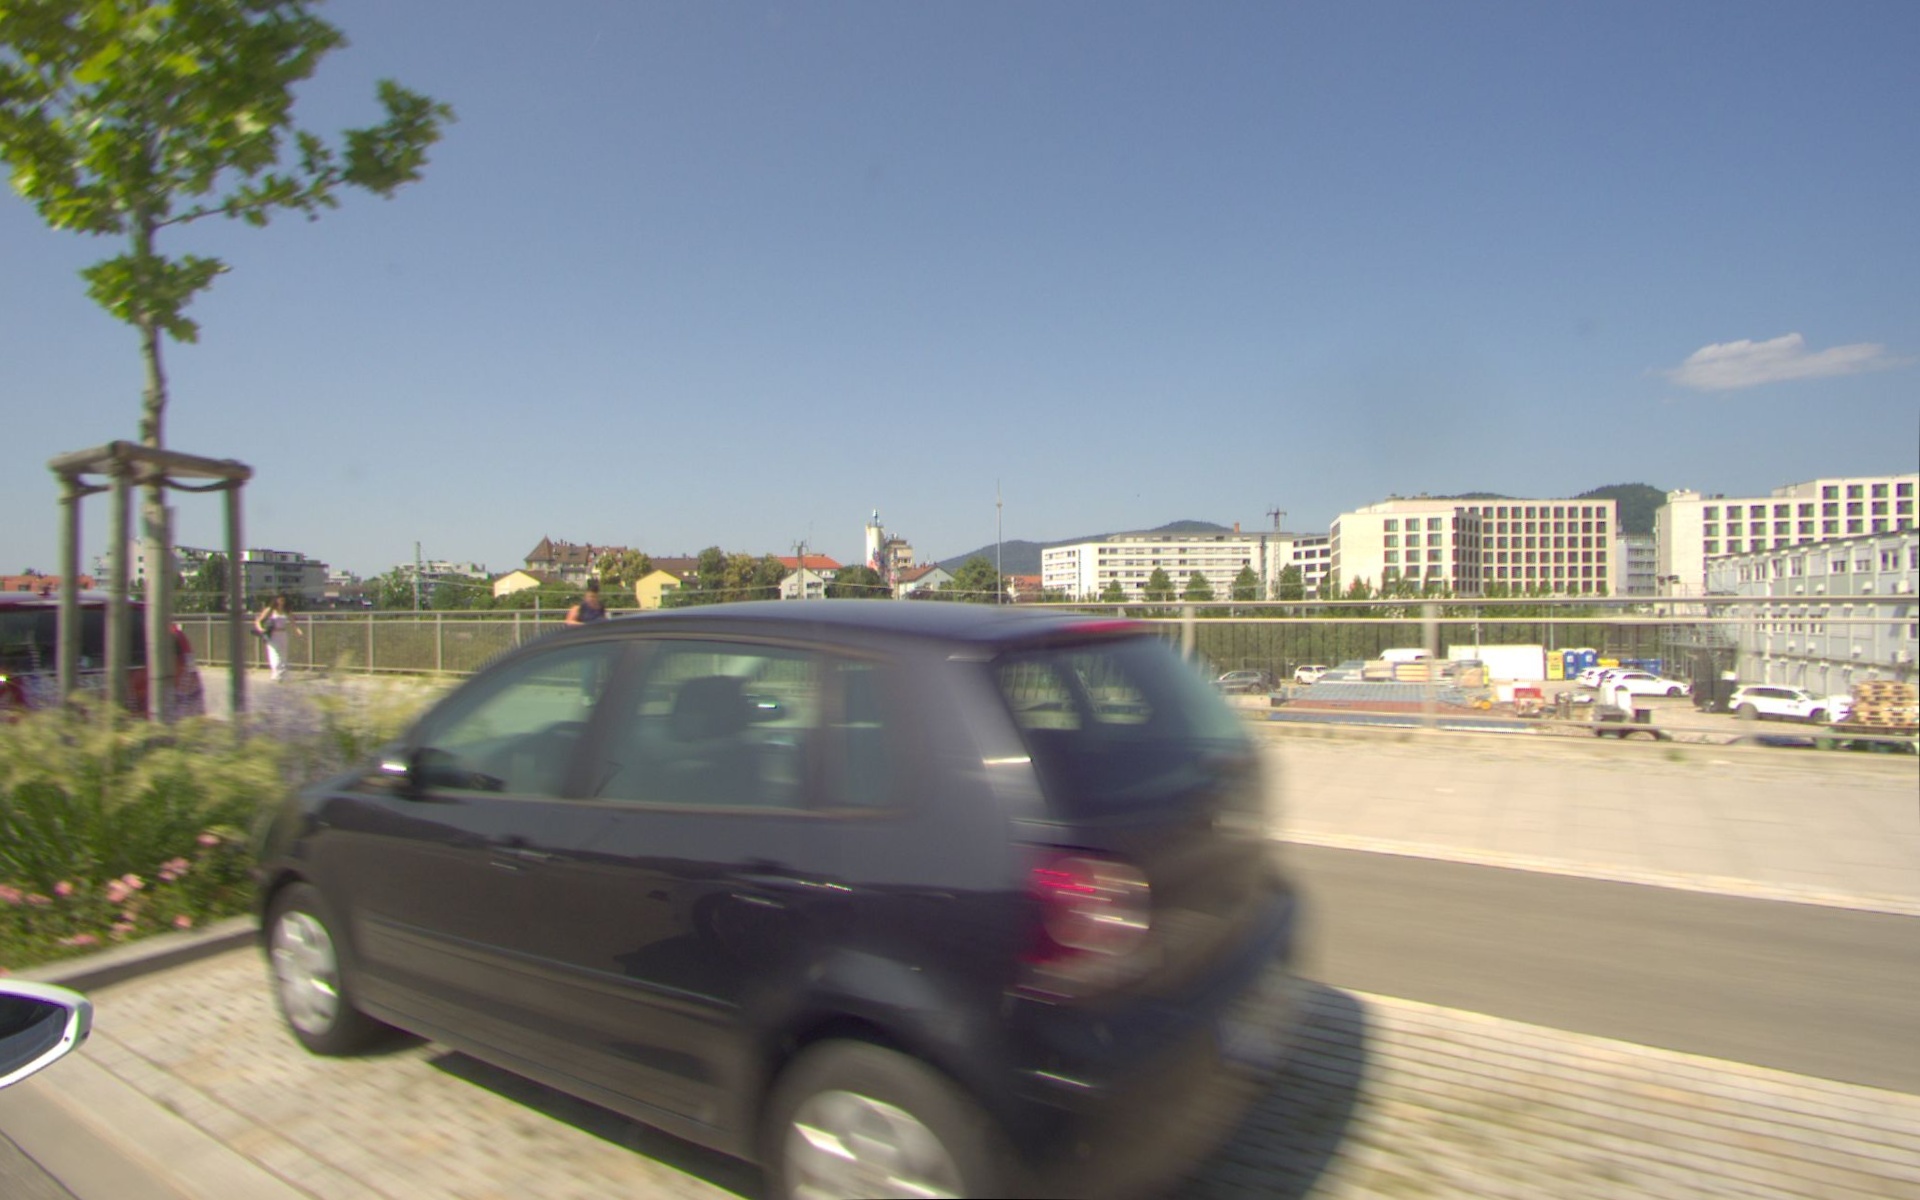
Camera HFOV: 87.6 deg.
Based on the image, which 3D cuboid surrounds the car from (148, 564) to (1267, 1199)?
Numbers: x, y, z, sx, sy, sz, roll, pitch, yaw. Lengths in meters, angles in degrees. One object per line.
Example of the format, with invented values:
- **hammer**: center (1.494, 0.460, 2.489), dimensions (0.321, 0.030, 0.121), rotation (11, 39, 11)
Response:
- **car**: center (-1.072, 0.692, 3.428), dimensions (3.770, 1.498, 1.616), rotation (0, 0, 34)

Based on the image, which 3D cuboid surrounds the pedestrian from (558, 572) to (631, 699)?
- **pedestrian**: center (-5.124, 0.504, 14.049), dimensions (0.642, 1.726, 0.730), rotation (-2, -2, 33)

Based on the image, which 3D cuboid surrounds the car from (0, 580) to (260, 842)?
- **car**: center (-7.598, 0.694, 7.915), dimensions (4.484, 1.638, 1.904), rotation (0, 0, 34)

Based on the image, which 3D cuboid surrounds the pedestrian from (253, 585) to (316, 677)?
- **pedestrian**: center (-13.131, 0.612, 19.463), dimensions (0.731, 1.726, 0.779), rotation (-2, -2, 33)
